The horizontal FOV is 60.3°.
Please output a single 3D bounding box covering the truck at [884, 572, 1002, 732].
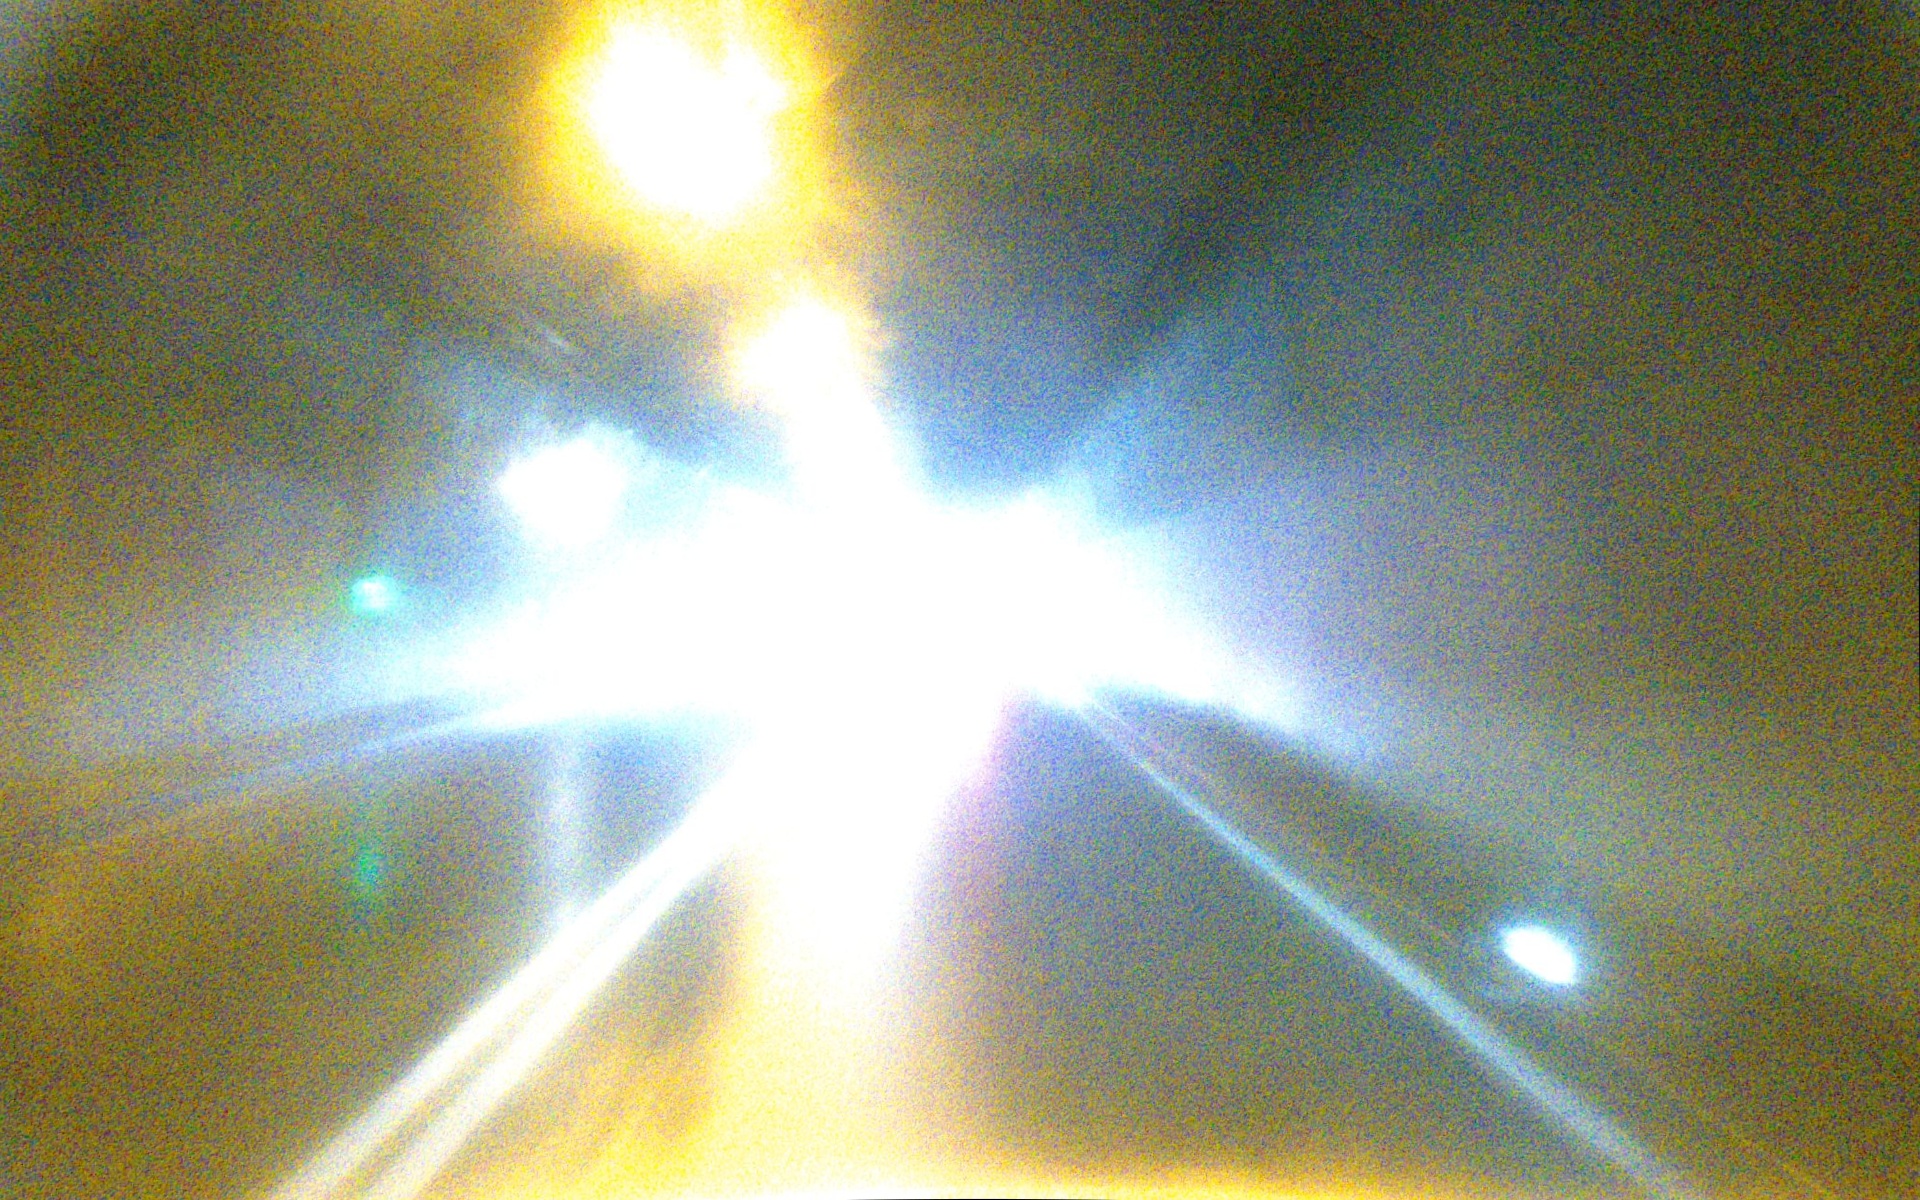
[{"bbox_3d":[-0.373,1.044,36.213,2.216,3.063,7.413,2,-1,-1],"label":"truck"}]
